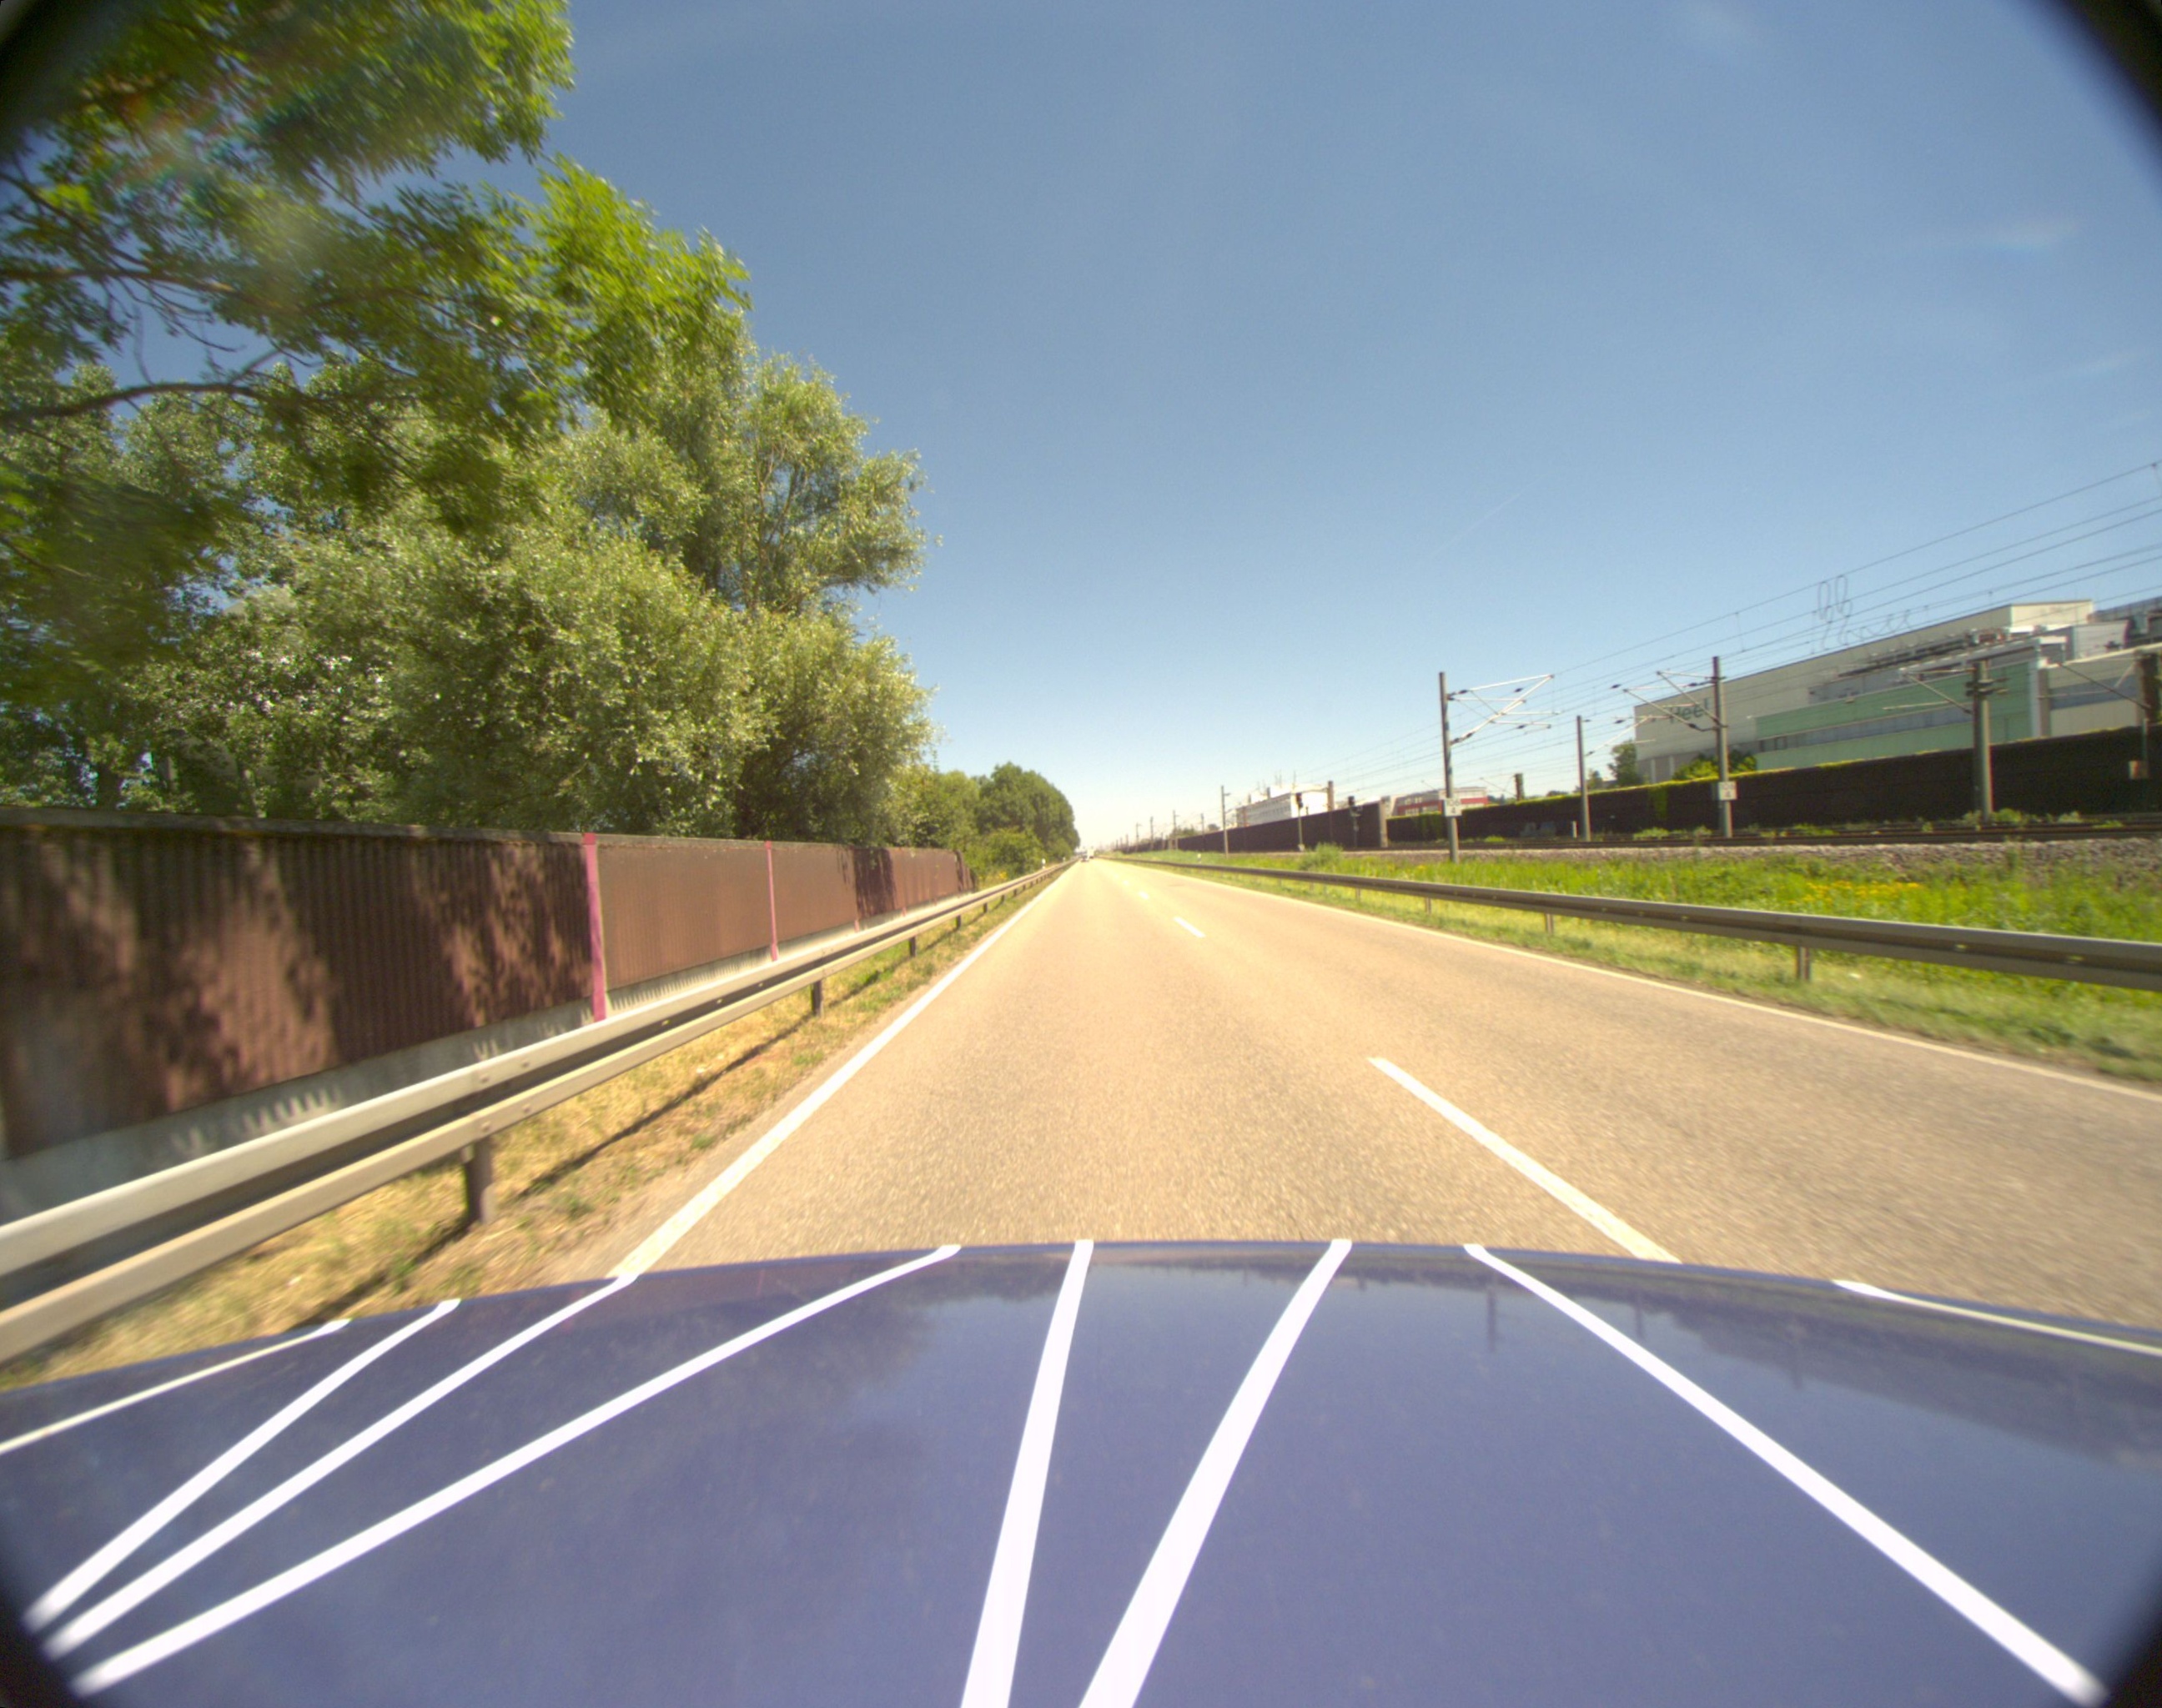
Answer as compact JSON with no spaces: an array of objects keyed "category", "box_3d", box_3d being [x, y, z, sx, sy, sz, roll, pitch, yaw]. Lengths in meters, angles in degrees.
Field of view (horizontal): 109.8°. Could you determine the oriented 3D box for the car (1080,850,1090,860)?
[{"category":"car","box_3d":[0.904,0.227,176.440,1.999,2.002,3.999,-2,0,-1]}]
